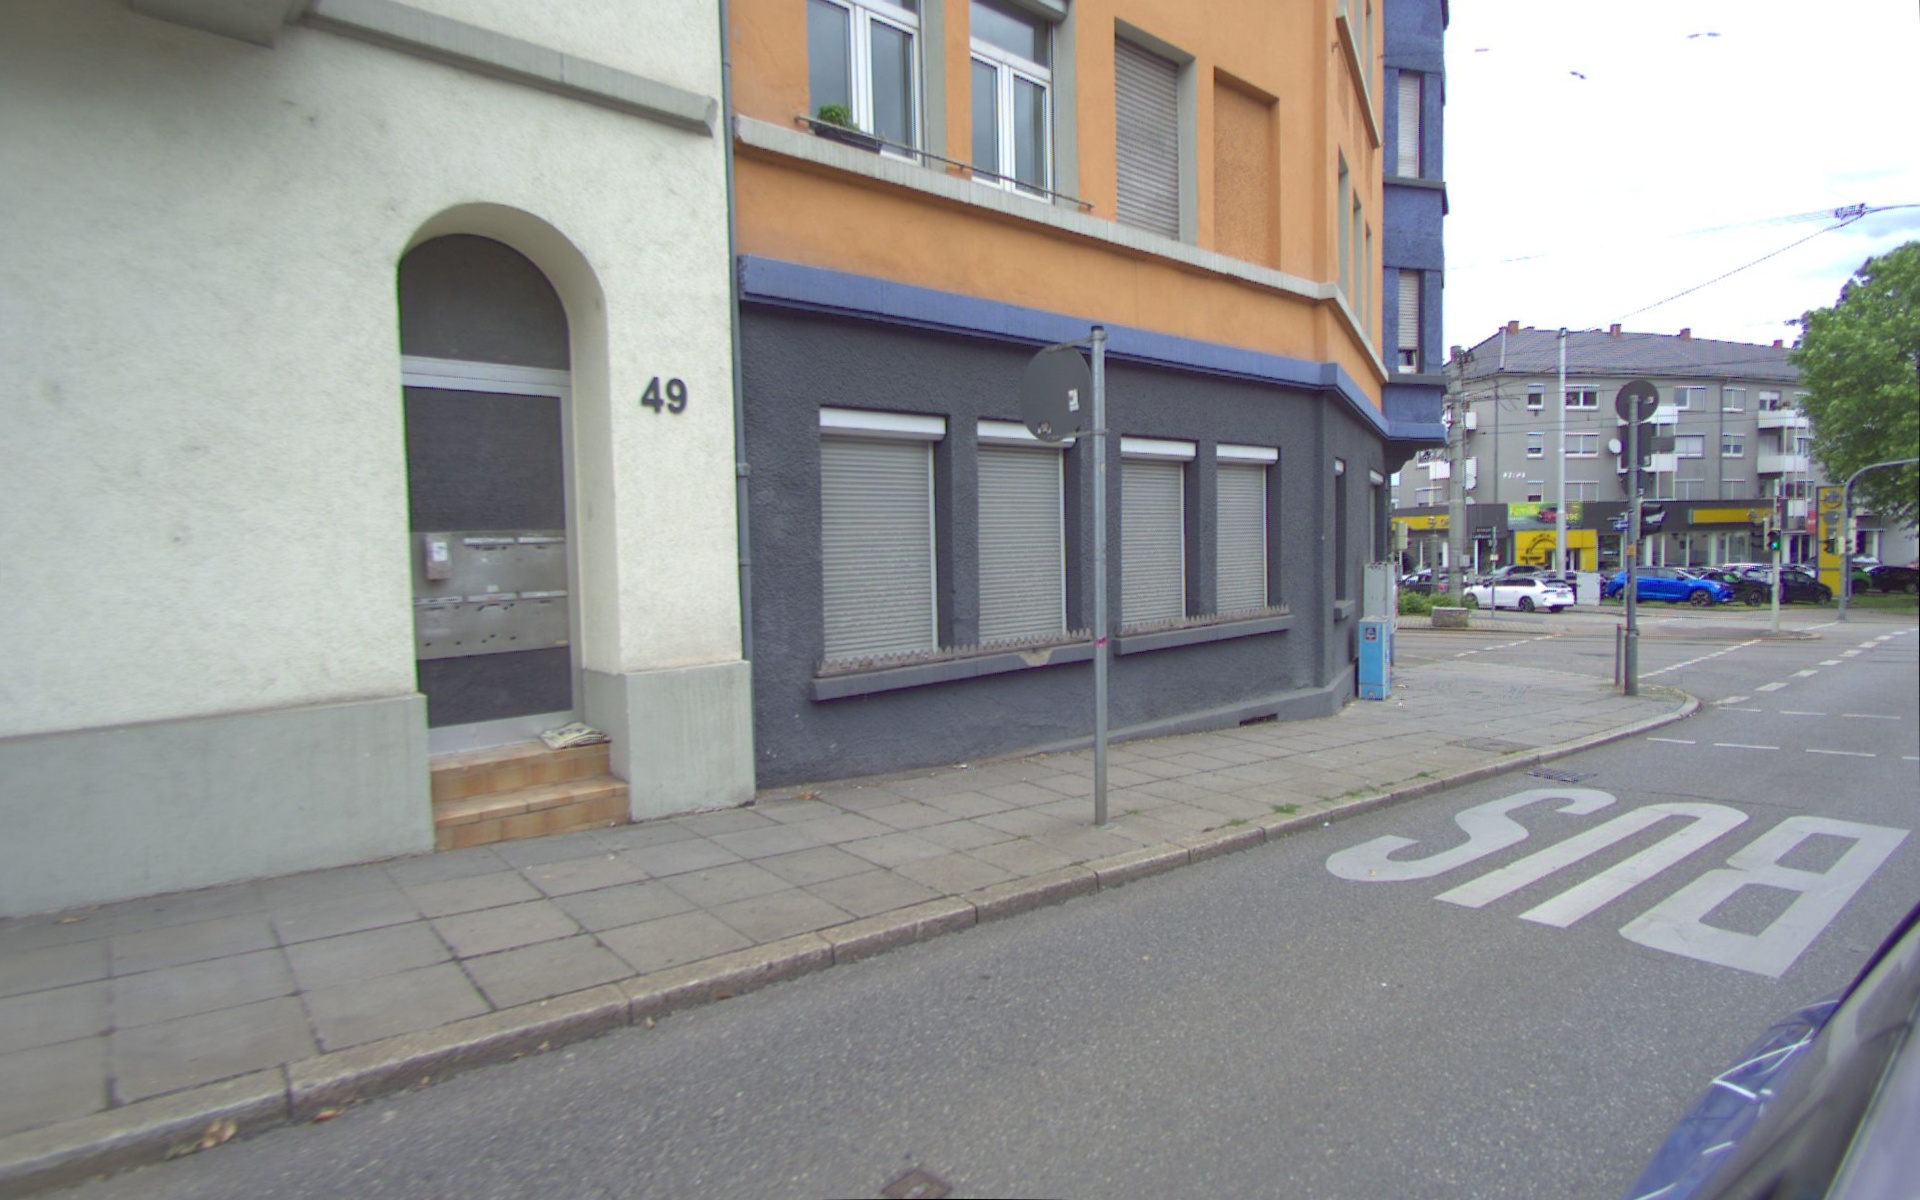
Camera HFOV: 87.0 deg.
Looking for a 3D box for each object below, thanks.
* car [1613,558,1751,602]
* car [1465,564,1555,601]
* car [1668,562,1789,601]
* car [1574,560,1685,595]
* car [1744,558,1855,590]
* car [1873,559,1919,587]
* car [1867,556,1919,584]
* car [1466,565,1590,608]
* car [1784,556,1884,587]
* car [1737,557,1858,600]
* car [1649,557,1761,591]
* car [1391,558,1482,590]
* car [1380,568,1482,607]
[{"bbox_3d":[29.623,-0.855,41.627,1.796,1.596,4.257,0,3,-39],"label":"car"},{"bbox_3d":[28.104,-0.906,51.732,4.157,1.802,1.717,0,3,-21],"label":"car"},{"bbox_3d":[33.296,-0.810,43.886,3.919,1.495,1.833,2,2,-7],"label":"car"},{"bbox_3d":[32.024,-1.134,48.527,1.826,1.569,4.006,-1,3,-29],"label":"car"},{"bbox_3d":[43.179,-1.377,52.143,1.827,1.569,4.003,-1,3,-33],"label":"car"},{"bbox_3d":[55.284,-1.536,57.947,3.943,1.523,1.855,1,2,16],"label":"car"},{"bbox_3d":[53.202,-1.675,56.073,3.940,1.523,1.856,1,2,13],"label":"car"},{"bbox_3d":[23.205,-0.589,41.510,1.878,1.553,4.152,0,3,-20],"label":"car"},{"bbox_3d":[45.627,-1.509,52.907,3.569,1.572,1.610,1,2,22],"label":"car"},{"bbox_3d":[38.398,-1.016,46.459,4.084,1.625,1.835,2,7,-8],"label":"car"},{"bbox_3d":[36.407,-1.310,49.580,1.826,1.569,4.006,-1,3,-29],"label":"car"},{"bbox_3d":[25.176,-1.389,53.553,4.032,1.553,1.798,1,3,-12],"label":"car"},{"bbox_3d":[21.477,-0.605,46.332,1.878,1.553,4.152,0,3,-19],"label":"car"}]
